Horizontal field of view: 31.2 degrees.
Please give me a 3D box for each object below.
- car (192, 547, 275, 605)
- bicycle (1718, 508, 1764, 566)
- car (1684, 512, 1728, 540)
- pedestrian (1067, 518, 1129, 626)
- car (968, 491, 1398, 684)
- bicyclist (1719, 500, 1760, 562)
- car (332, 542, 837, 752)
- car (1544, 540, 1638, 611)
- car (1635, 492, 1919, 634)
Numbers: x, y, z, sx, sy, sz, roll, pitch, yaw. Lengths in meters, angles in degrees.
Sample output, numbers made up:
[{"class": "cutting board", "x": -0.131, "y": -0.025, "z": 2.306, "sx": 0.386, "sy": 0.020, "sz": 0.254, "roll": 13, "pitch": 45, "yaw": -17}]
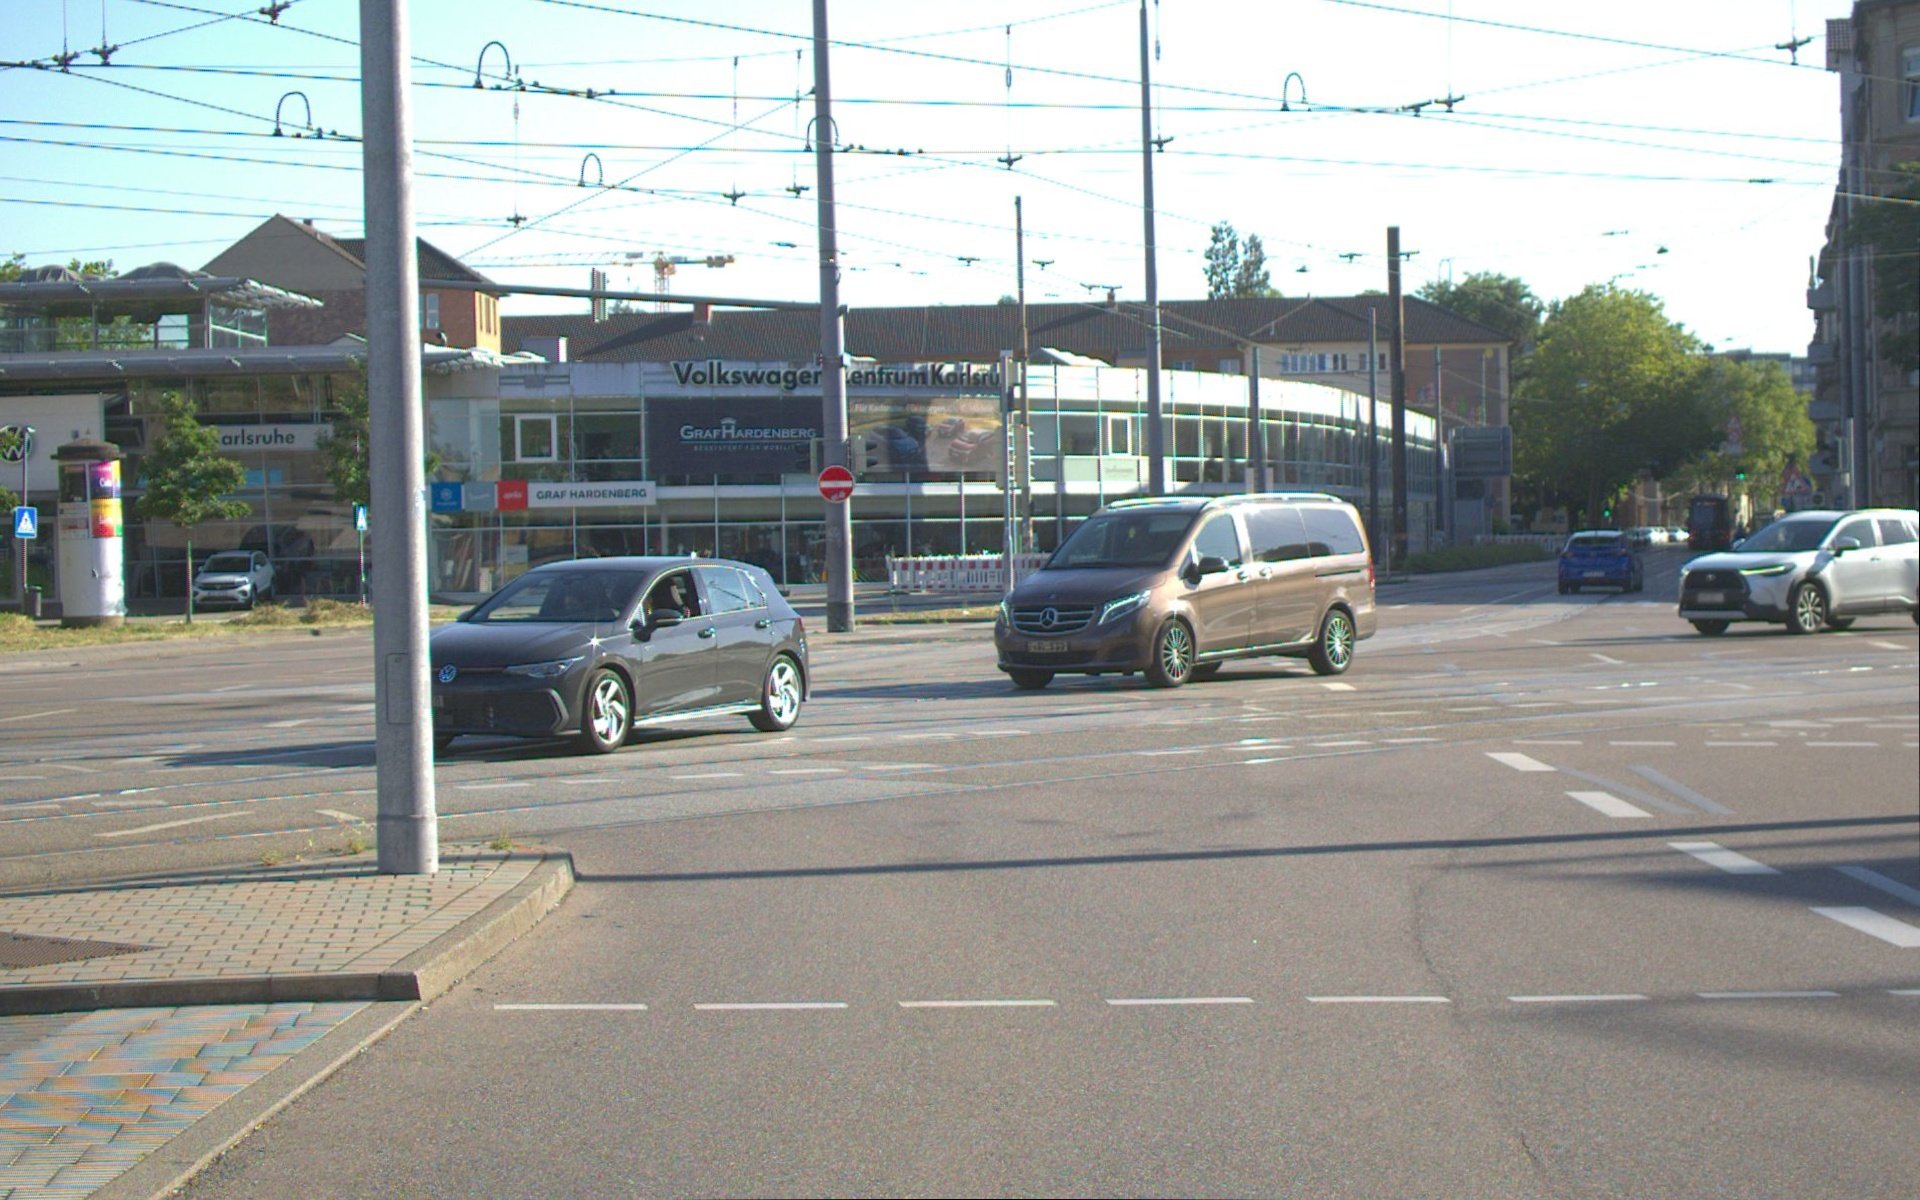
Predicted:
[{"class": "car", "x": -21.272, "y": -0.730, "z": 100.759, "sx": 1.993, "sy": 1.529, "sz": 4.001, "roll": 0, "pitch": 3, "yaw": -6}, {"class": "bicycle", "x": 24.099, "y": -1.961, "z": 106.096, "sx": 1.136, "sy": 1.684, "sz": 3.997, "roll": 1, "pitch": 3, "yaw": 16}, {"class": "car", "x": 46.748, "y": -4.657, "z": 215.618, "sx": 1.801, "sy": 1.650, "sz": 3.918, "roll": 0, "pitch": 3, "yaw": -2}, {"class": "pedestrian", "x": 2.358, "y": -0.486, "z": 58.927, "sx": 0.989, "sy": 1.810, "sz": 0.920, "roll": 0, "pitch": 2, "yaw": -2}, {"class": "car", "x": 2.418, "y": -0.180, "z": 36.071, "sx": 1.952, "sy": 1.887, "sz": 4.839, "roll": 0, "pitch": 1, "yaw": 41}, {"class": "bicyclist", "x": 24.048, "y": -2.129, "z": 106.056, "sx": 1.120, "sy": 1.894, "sz": 1.073, "roll": 1, "pitch": 3, "yaw": 17}, {"class": "car", "x": -2.848, "y": 0.316, "z": 26.989, "sx": 1.950, "sy": 1.481, "sz": 4.096, "roll": -1, "pitch": 1, "yaw": 28}, {"class": "car", "x": 14.894, "y": -0.607, "z": 81.301, "sx": 1.948, "sy": 1.588, "sz": 4.616, "roll": -1, "pitch": 1, "yaw": 8}, {"class": "car", "x": 11.471, "y": -0.524, "z": 46.189, "sx": 4.836, "sy": 1.793, "sz": 1.953, "roll": -2, "pitch": 1, "yaw": -37}]
